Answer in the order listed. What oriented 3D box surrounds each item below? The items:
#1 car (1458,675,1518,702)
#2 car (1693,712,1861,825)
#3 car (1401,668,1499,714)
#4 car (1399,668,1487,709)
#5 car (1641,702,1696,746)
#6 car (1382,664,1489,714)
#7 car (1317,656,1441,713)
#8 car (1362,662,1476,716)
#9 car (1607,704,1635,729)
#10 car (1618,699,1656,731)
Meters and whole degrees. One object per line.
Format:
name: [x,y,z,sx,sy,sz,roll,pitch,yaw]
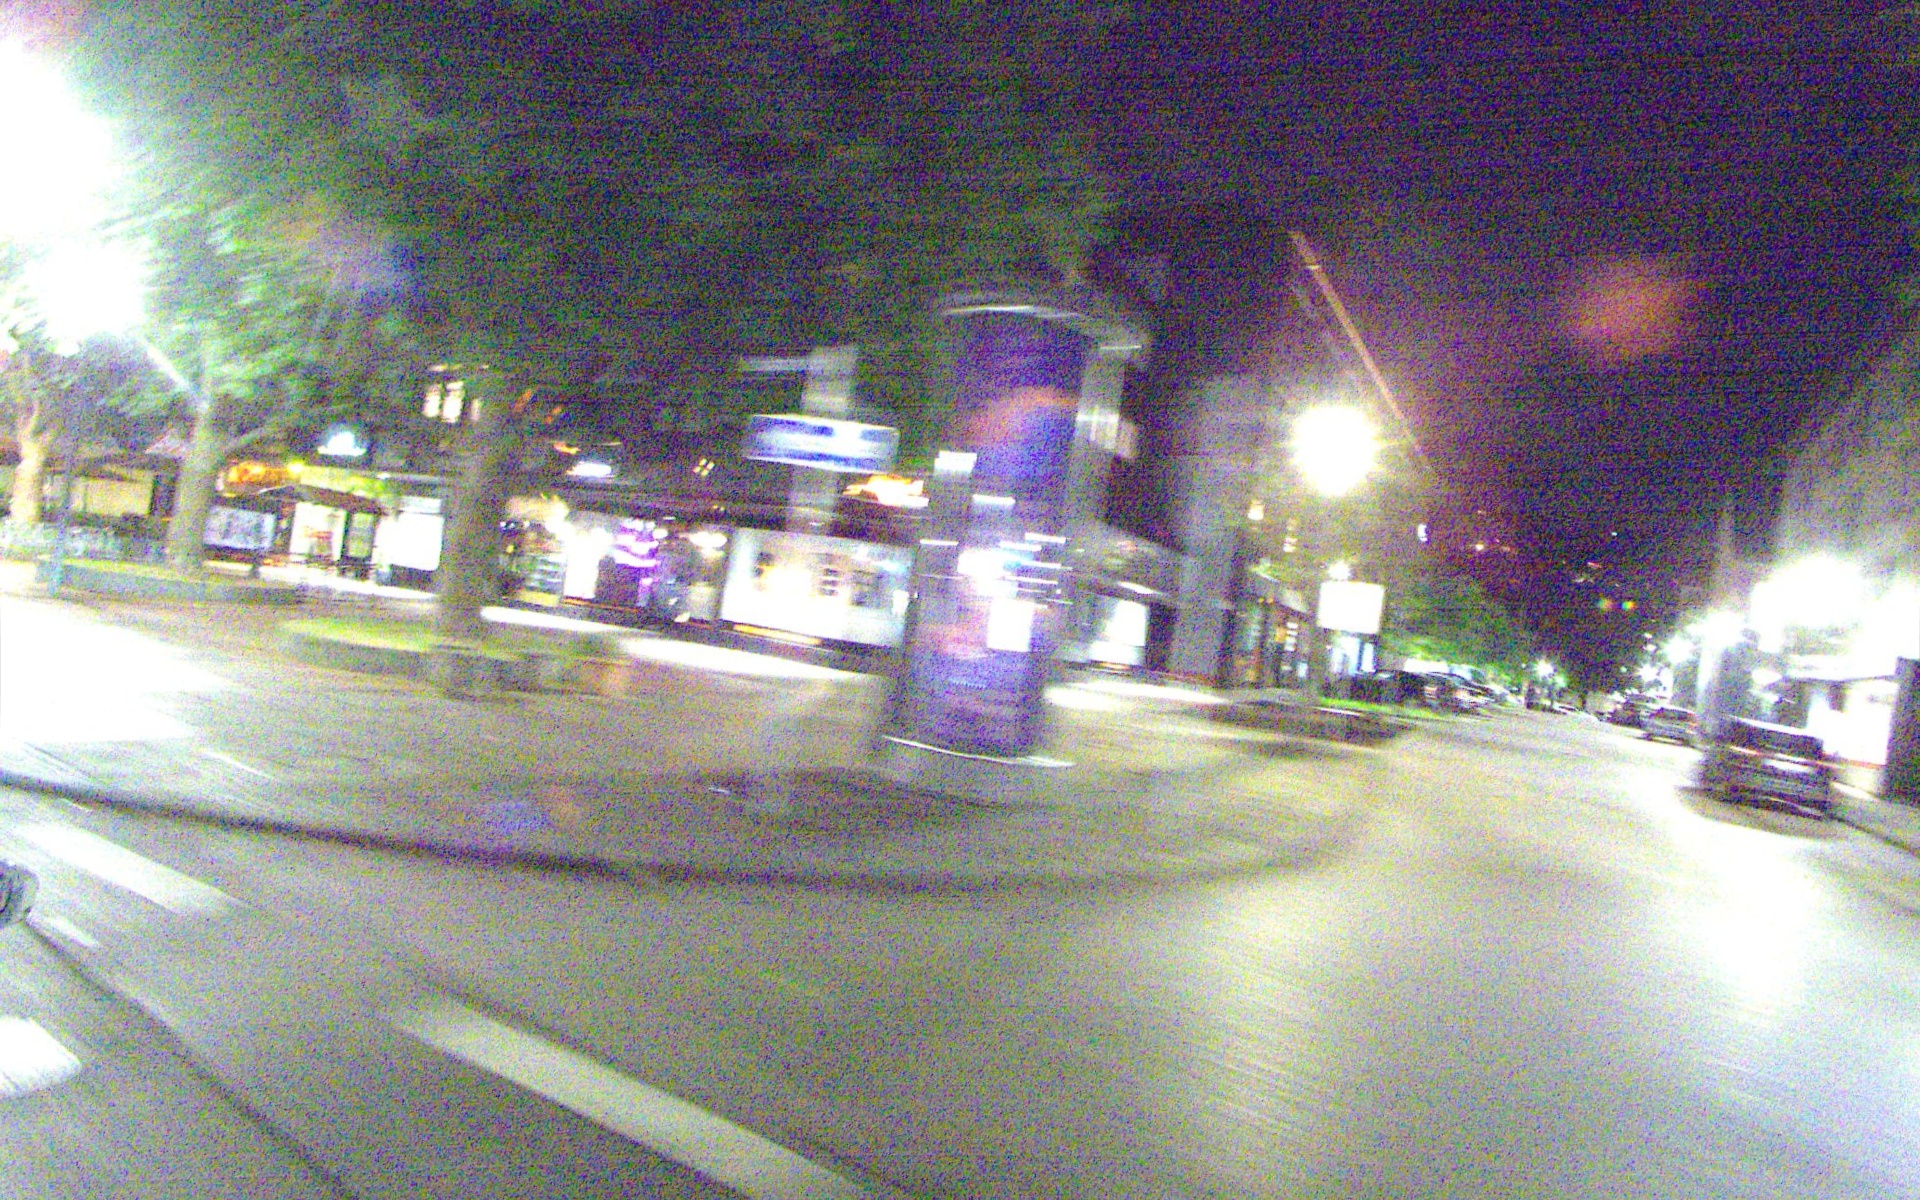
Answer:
car: [39.431,6.600,75.106,3.732,1.496,1.751,7,-2,32]
car: [15.941,3.205,19.855,1.869,1.609,3.992,8,0,32]
car: [22.335,4.151,45.860,3.732,1.496,1.751,7,-2,32]
car: [24.454,4.497,50.955,3.732,1.496,1.751,7,-2,32]
car: [30.093,5.229,42.786,1.625,1.517,3.515,8,0,34]
car: [19.643,3.666,41.562,3.732,1.496,1.751,7,-2,32]
car: [15.542,3.141,37.368,3.934,1.496,1.751,7,-2,32]
car: [17.850,3.457,39.180,3.732,1.496,1.751,7,-2,32]
car: [49.578,8.714,75.535,1.446,1.517,3.516,8,0,32]
car: [38.330,6.479,57.031,1.446,1.517,3.516,8,0,32]
